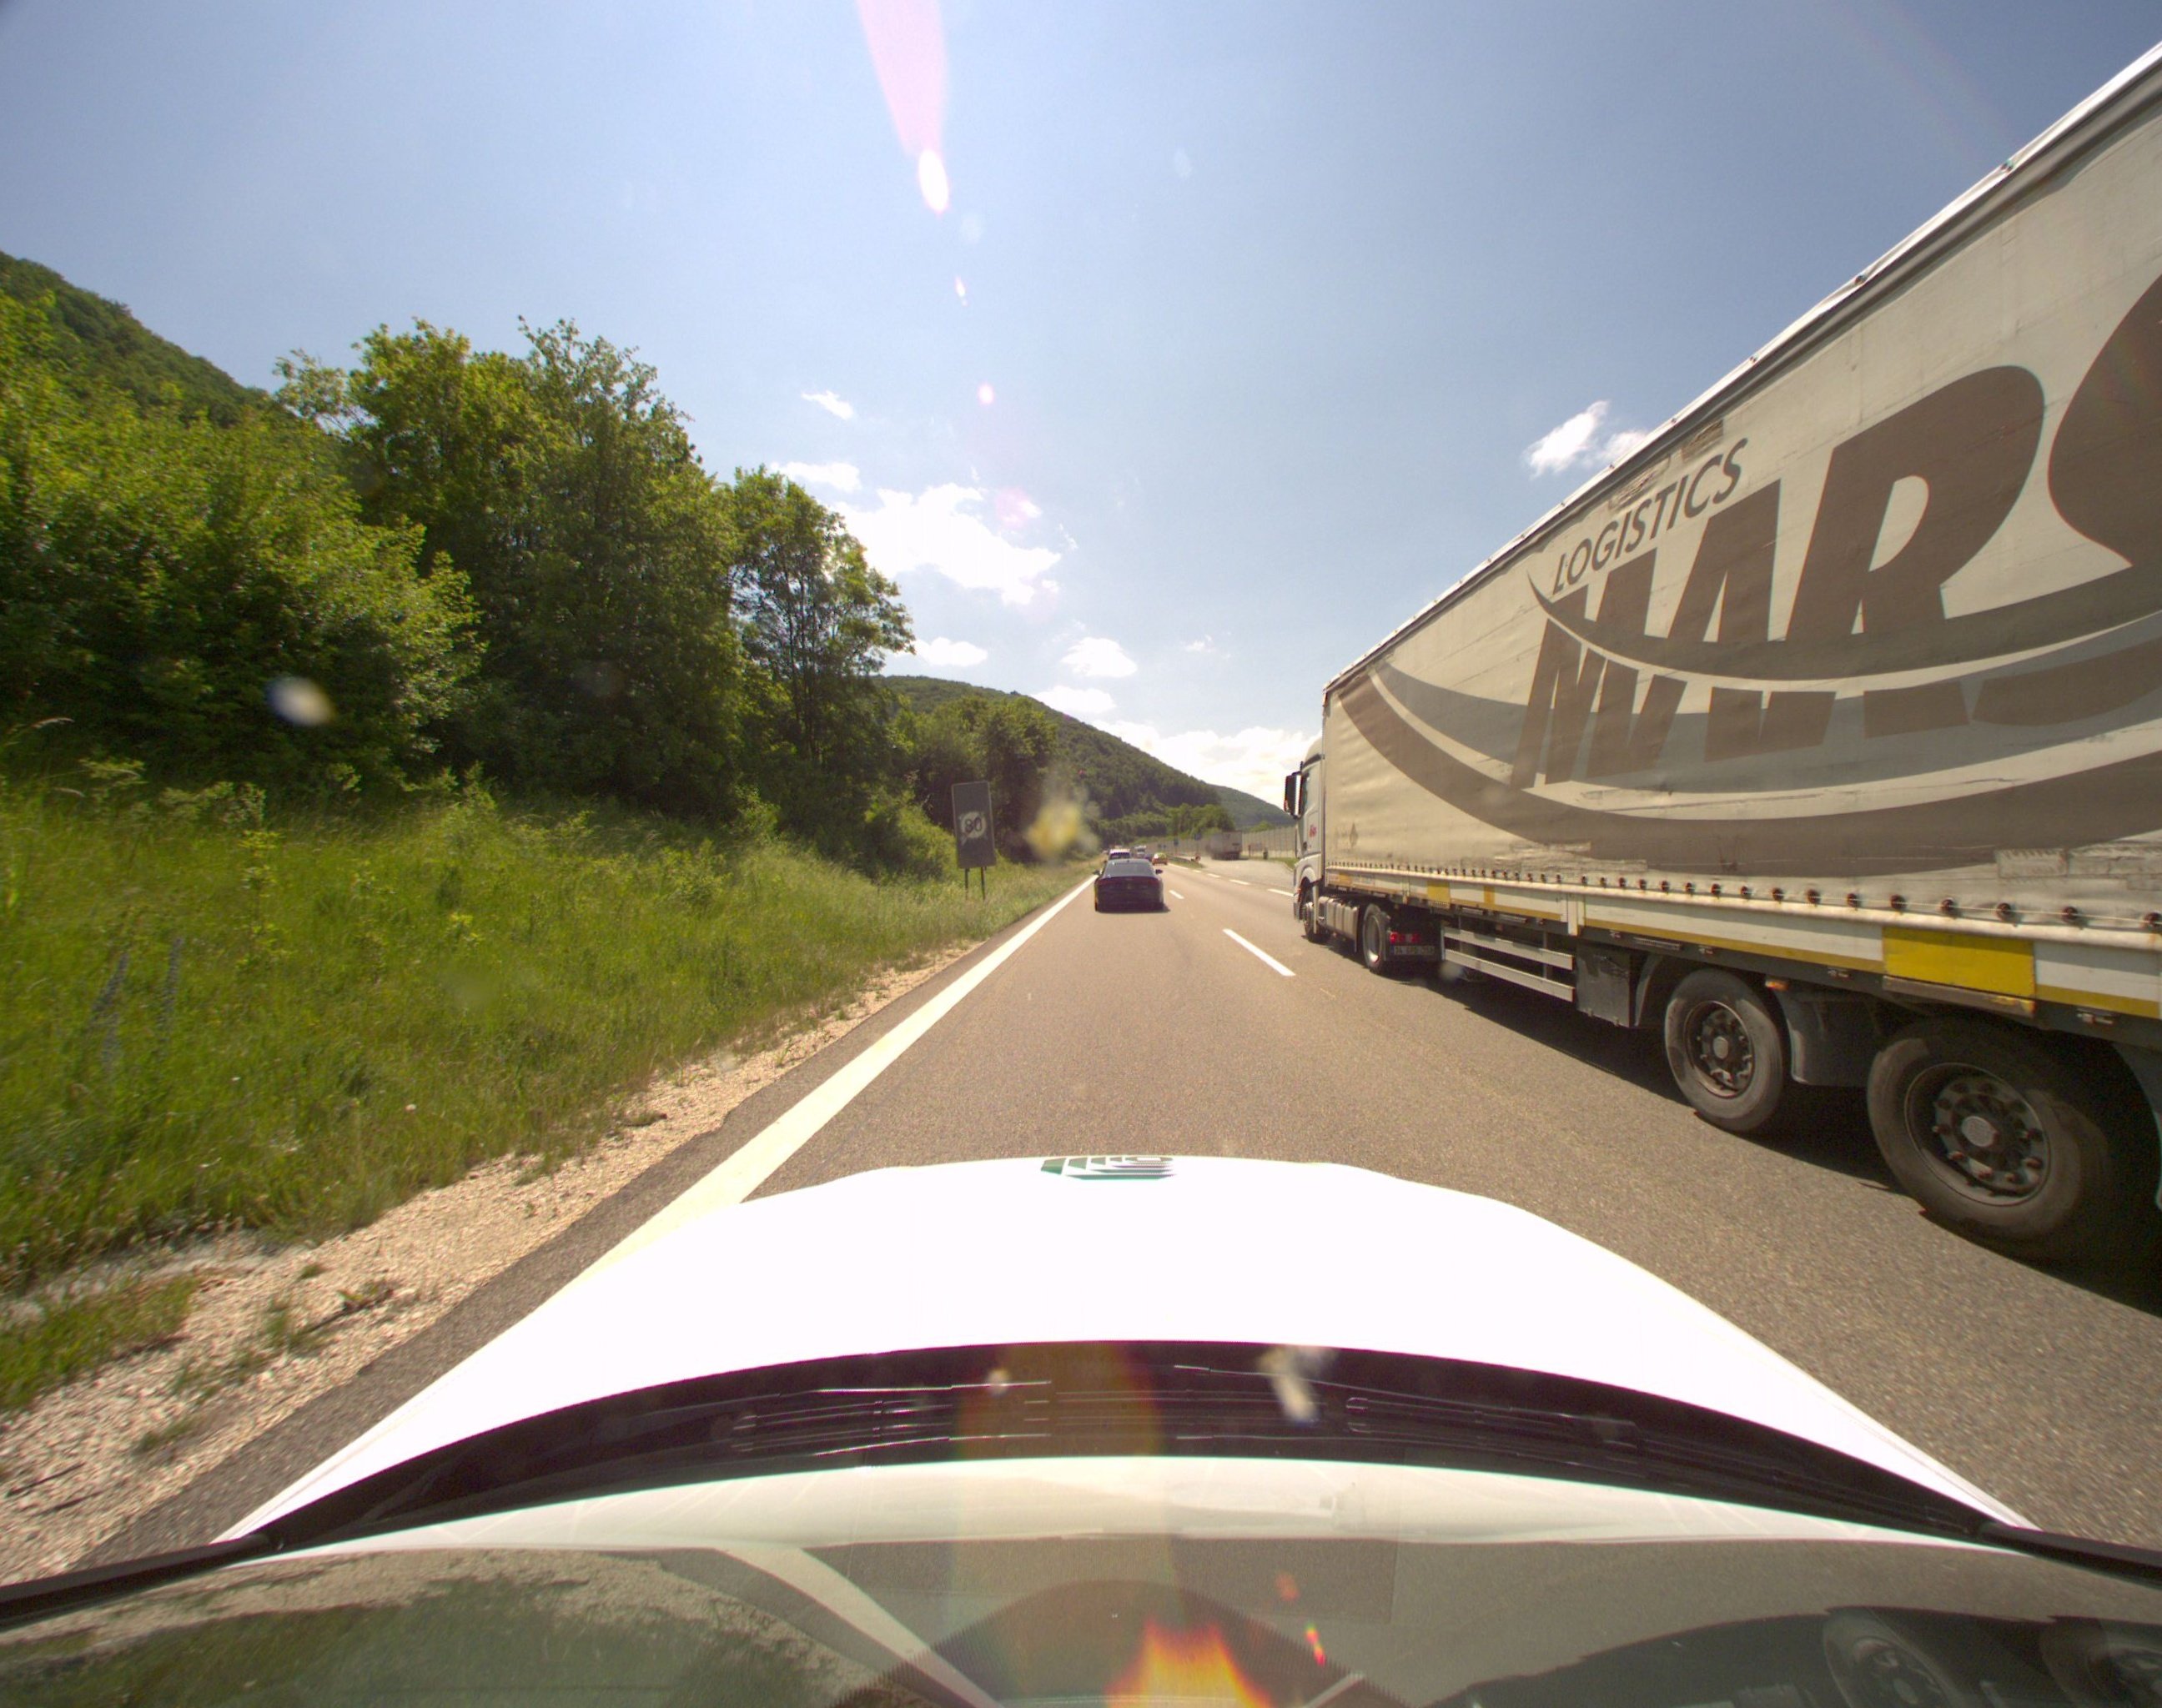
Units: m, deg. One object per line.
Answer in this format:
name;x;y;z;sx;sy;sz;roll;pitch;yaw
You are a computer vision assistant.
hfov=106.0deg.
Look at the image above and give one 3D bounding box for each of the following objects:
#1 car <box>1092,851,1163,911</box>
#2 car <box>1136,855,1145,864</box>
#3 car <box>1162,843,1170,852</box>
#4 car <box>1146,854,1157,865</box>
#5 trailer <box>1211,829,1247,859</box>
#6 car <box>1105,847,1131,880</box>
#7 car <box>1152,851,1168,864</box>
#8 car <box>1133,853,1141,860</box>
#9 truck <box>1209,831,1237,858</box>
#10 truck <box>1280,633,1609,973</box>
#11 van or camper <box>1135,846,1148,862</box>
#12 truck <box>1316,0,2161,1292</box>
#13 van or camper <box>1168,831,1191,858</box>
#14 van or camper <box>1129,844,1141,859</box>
car;1.299;0.712;23.105;1.805;1.514;3.517;-2;0;2
car;10.017;0.997;137.673;1.523;1.525;3.599;0;-1;3
car;21.056;-1.584;201.825;1.570;2.013;3.431;-2;0;3
car;10.221;0.810;118.053;1.523;1.525;3.599;0;-1;3
trailer;20.407;-1.329;112.814;3.398;3.900;11.158;-1;0;3
car;2.318;0.594;50.914;1.515;1.968;3.516;1;-1;2
car;9.848;0.455;102.024;1.871;1.499;4.003;-1;0;3
car;13.595;0.627;198.307;1.986;1.794;4.002;0;-1;2
truck;20.702;-1.348;118.856;3.398;3.900;5.391;-1;0;2
truck;5.053;-0.578;12.657;2.708;4.068;5.757;0;-1;2
van or camper;12.580;-0.015;169.597;2.419;3.155;5.207;0;-1;3
truck;4.755;-0.672;5.829;2.715;4.068;13.748;0;-1;2
van or camper;14.752;-1.410;122.532;2.785;3.841;6.167;0;-1;1
van or camper;14.439;-0.636;218.306;2.785;3.907;6.167;0;-1;1
